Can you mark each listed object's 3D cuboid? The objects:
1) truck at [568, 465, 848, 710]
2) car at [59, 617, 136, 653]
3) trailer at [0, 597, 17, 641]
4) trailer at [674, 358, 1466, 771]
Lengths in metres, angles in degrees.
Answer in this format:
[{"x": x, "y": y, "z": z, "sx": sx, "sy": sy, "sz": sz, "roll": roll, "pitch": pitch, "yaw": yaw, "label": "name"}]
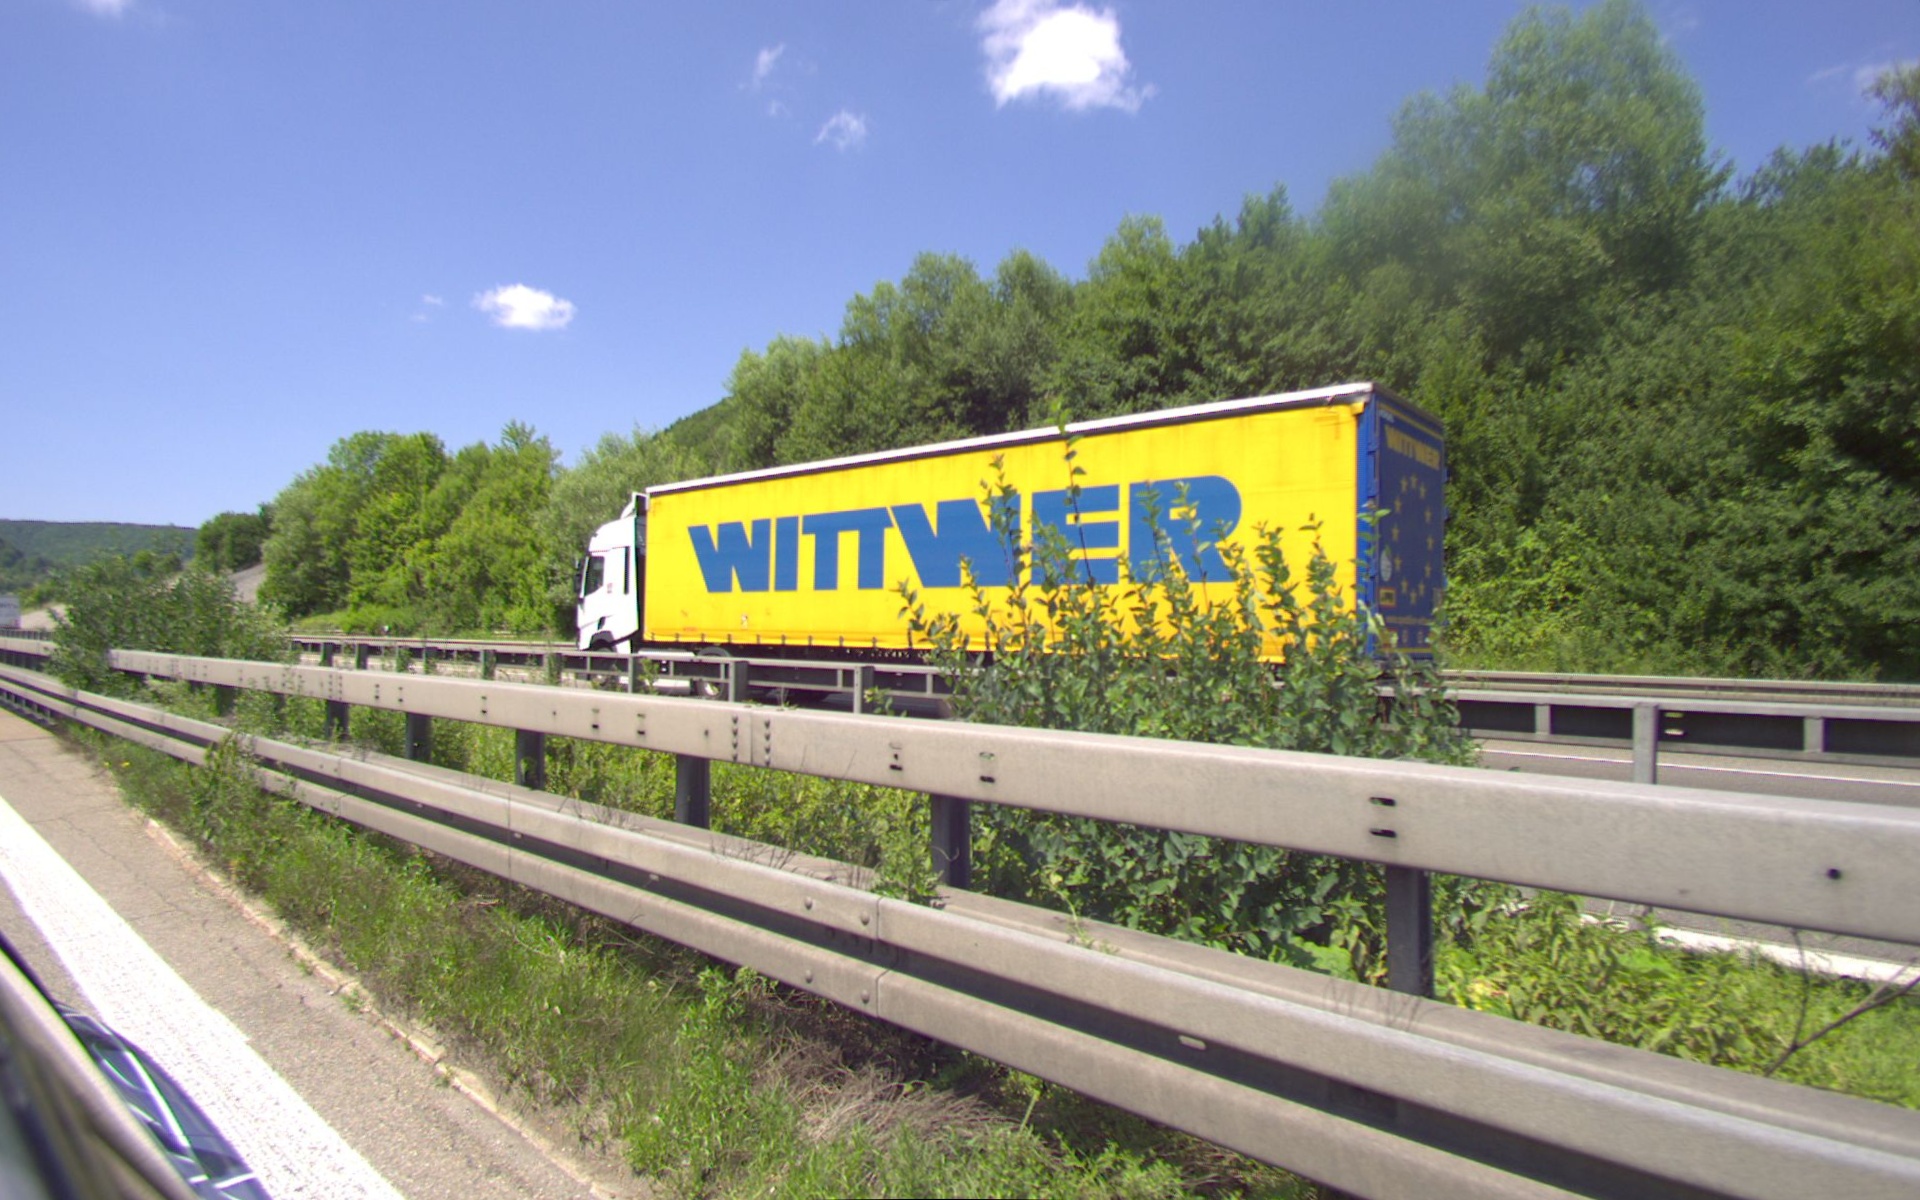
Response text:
[{"x": -5.096, "y": -0.158, "z": 19.931, "sx": 5.848, "sy": 4.121, "sz": 2.520, "roll": -1, "pitch": -2, "yaw": 42, "label": "truck"}, {"x": -36.088, "y": 1.466, "z": 42.300, "sx": 4.432, "sy": 1.431, "sz": 1.849, "roll": -1, "pitch": -3, "yaw": 42, "label": "car"}, {"x": -93.498, "y": 1.824, "z": 97.369, "sx": 11.257, "sy": 4.107, "sz": 2.826, "roll": -1, "pitch": -3, "yaw": 41, "label": "trailer"}, {"x": 0.349, "y": -0.258, "z": 15.060, "sx": 12.597, "sy": 4.035, "sz": 2.553, "roll": -1, "pitch": -1, "yaw": 42, "label": "trailer"}]
